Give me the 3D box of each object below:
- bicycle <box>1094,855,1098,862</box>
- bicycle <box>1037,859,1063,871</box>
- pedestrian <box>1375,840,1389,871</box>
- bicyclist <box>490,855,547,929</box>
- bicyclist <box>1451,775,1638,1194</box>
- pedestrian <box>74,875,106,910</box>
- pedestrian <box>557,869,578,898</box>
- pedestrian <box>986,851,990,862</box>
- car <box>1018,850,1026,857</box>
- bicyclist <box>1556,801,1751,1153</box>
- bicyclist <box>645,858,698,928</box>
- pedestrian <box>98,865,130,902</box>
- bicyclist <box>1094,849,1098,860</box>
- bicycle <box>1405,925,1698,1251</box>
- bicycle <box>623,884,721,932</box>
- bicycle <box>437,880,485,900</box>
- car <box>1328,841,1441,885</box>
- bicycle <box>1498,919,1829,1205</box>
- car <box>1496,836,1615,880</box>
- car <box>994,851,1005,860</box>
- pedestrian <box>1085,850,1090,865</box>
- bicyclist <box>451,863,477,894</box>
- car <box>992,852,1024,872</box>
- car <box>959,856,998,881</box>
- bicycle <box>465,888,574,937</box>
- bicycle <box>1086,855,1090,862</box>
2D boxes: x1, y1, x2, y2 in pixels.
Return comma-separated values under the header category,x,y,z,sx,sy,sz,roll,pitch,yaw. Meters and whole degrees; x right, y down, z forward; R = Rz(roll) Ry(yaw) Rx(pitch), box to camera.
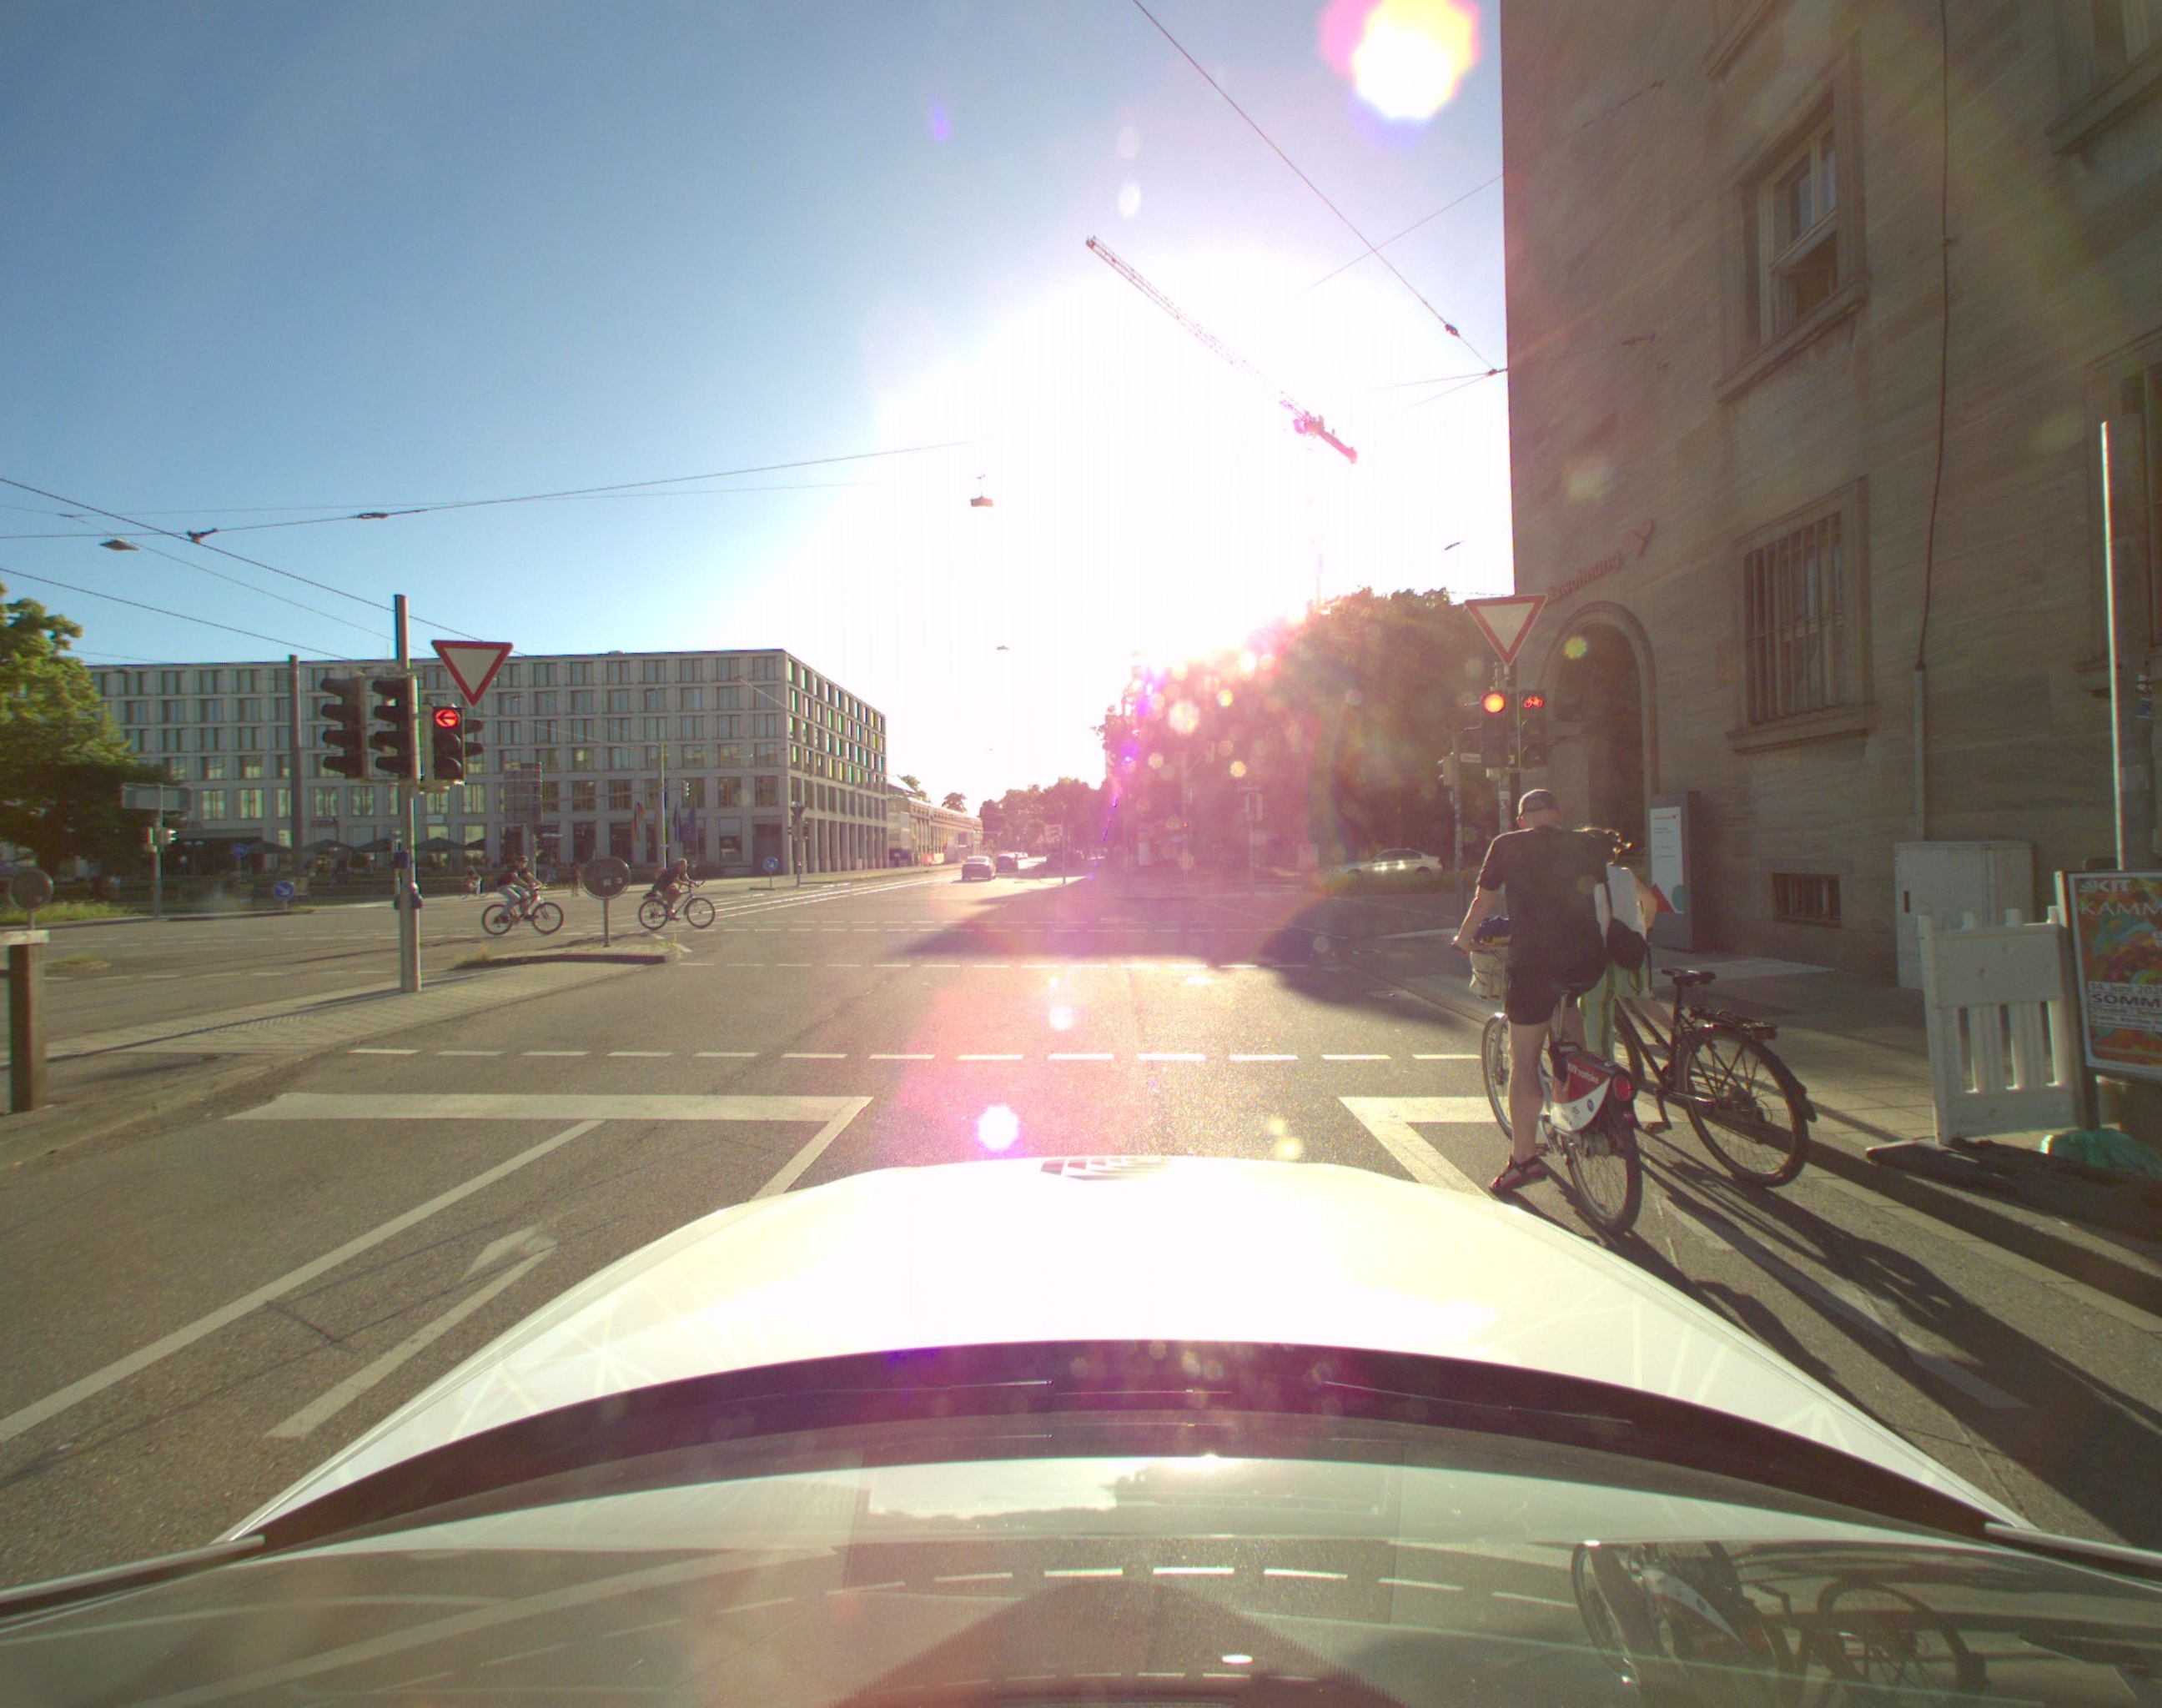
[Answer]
category,x,y,z,sx,sy,sz,roll,pitch,yaw
bicycle,2.351,0.672,124.527,0.573,1.077,1.831,-2,0,1
bicycle,-2.572,0.908,67.712,1.996,0.891,0.655,-4,-1,29
pedestrian,16.207,0.061,43.876,0.580,1.663,0.515,0,1,4
bicyclist,-11.914,0.794,17.263,0.761,1.524,0.606,-2,0,-3
bicyclist,2.122,0.561,3.787,0.556,1.799,0.551,-1,0,3
pedestrian,-54.456,2.088,44.768,0.711,1.900,0.877,-1,-1,11
pedestrian,-28.709,1.624,45.516,0.775,1.589,0.589,-2,0,-11
pedestrian,-18.361,0.518,160.599,0.672,2.014,0.751,0,-1,-1
car,-14.238,-0.111,195.330,1.688,1.718,4.245,0,-1,-1
bicyclist,2.953,0.592,4.254,0.556,1.691,0.640,-1,0,0
bicyclist,-8.809,0.826,17.545,0.796,1.450,0.617,-1,0,-2
pedestrian,-54.282,1.645,45.725,0.837,2.014,0.827,-1,-1,11
bicyclist,2.336,0.069,124.529,0.567,1.691,0.700,-2,0,1
bicycle,2.120,0.958,3.944,0.513,1.077,1.729,-1,0,4
bicycle,-8.793,1.151,17.535,1.739,0.935,0.645,-2,0,-3
bicycle,-32.968,1.917,43.358,0.753,0.935,1.874,-2,0,25
car,12.346,0.354,33.263,3.979,1.611,1.650,-2,0,1
bicycle,2.942,0.958,4.361,0.532,1.077,1.751,-1,0,1
car,19.158,0.148,32.986,3.835,1.611,1.650,-2,0,1
car,-15.668,0.270,157.080,1.688,1.718,4.245,0,-1,-1
pedestrian,0.805,0.414,98.488,0.462,1.813,0.502,-2,0,-3
bicyclist,-32.923,1.296,43.462,0.752,1.589,0.782,-1,0,25
car,-6.288,0.650,70.560,1.882,1.565,4.815,1,0,6
car,-6.269,0.865,50.157,1.654,1.455,4.434,-1,0,2
bicycle,-11.883,1.239,17.258,1.853,0.935,0.559,-2,0,-4
bicycle,1.029,0.682,124.317,0.573,1.077,1.831,-2,0,1
